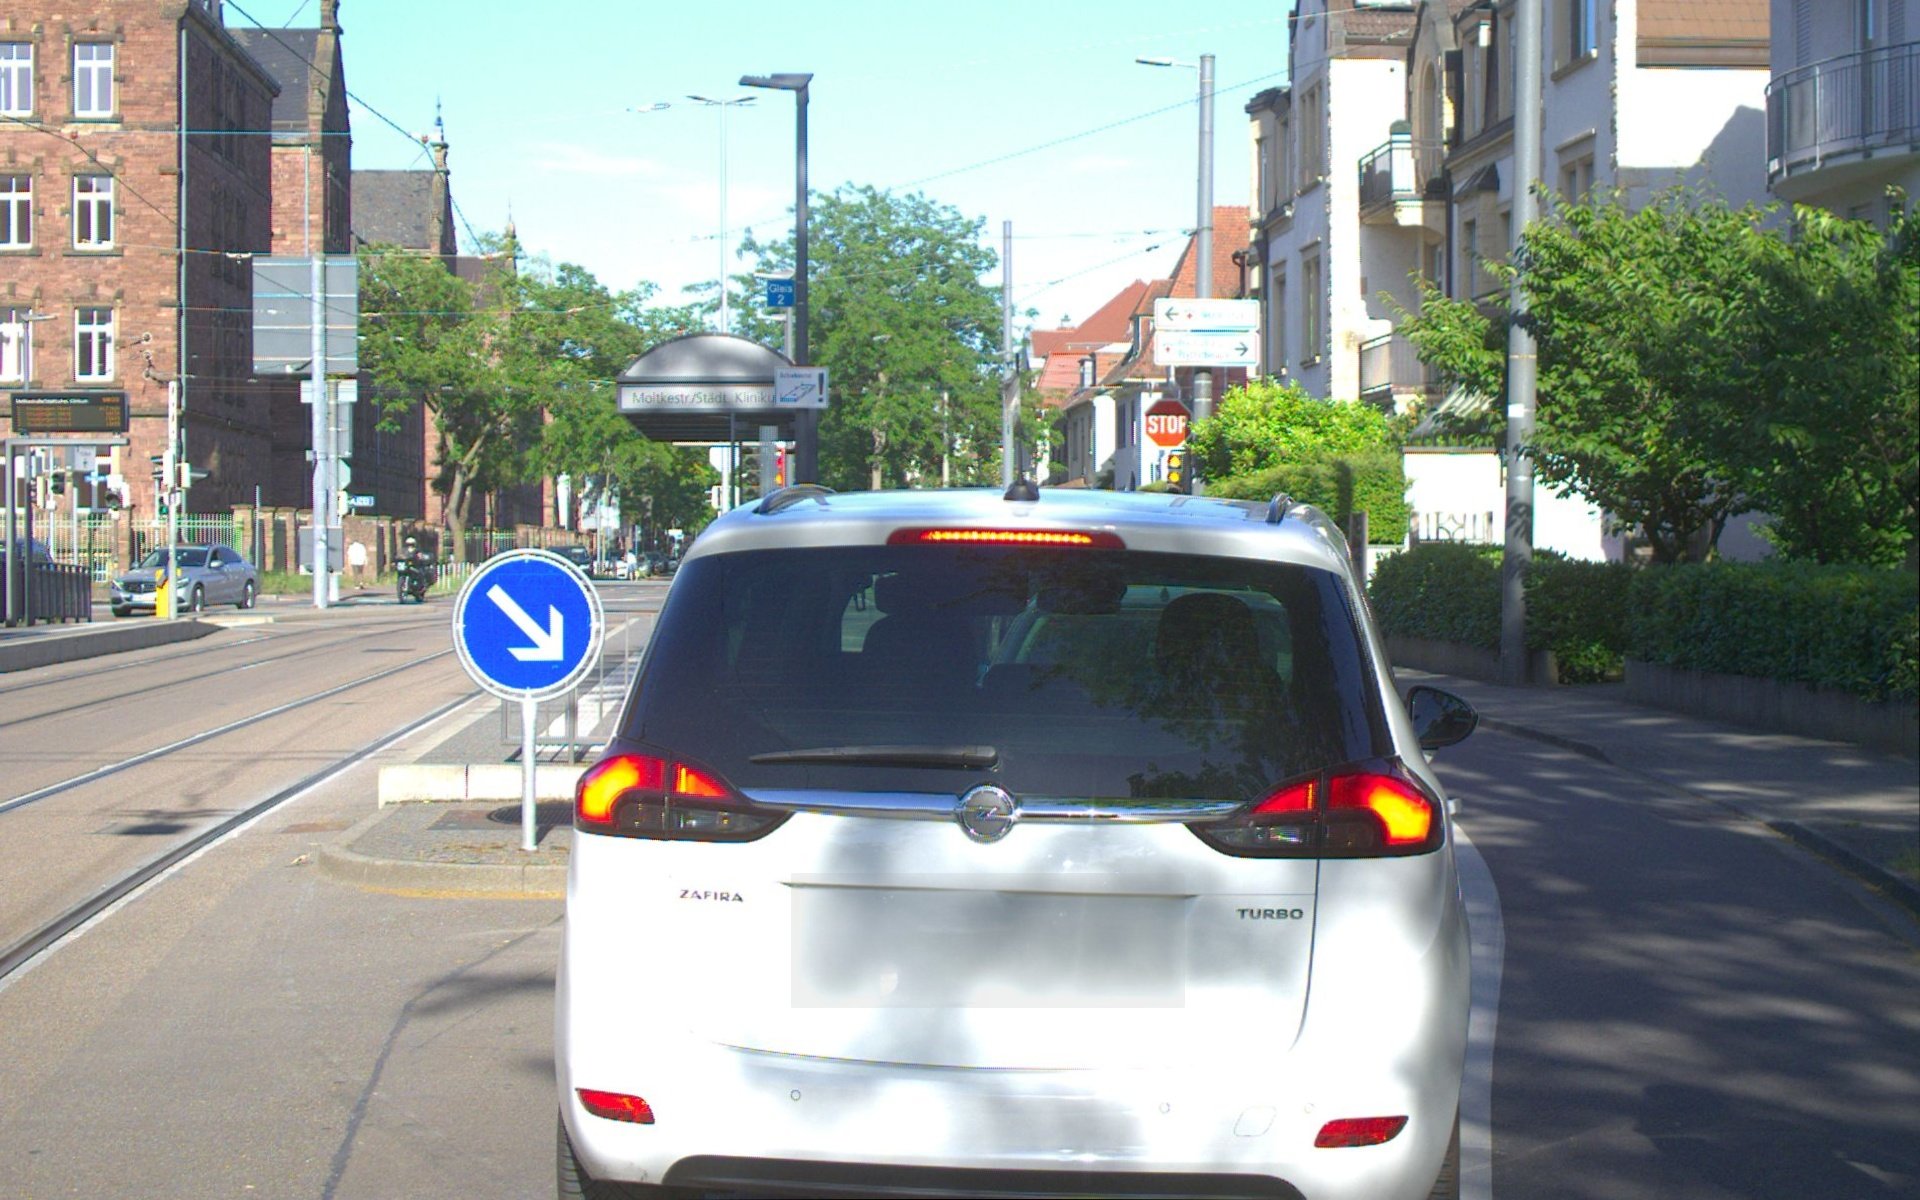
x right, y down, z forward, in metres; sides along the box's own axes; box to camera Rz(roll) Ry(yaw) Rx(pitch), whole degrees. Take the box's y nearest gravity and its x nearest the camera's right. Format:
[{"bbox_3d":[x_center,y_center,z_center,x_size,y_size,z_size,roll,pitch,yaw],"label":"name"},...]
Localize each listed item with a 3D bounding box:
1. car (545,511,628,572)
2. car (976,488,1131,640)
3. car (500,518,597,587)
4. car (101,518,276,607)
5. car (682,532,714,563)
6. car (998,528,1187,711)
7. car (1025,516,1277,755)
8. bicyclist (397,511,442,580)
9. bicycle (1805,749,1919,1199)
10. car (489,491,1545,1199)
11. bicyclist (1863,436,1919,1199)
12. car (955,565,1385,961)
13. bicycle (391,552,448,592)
[{"bbox_3d":[-12.726,-1.989,117.426,1.994,2.007,3.999,1,1,6],"label":"car"},{"bbox_3d":[1.046,-0.449,40.175,1.596,1.629,3.902,2,1,-1],"label":"car"},{"bbox_3d":[-12.250,-1.406,102.568,1.994,2.007,3.999,1,1,6],"label":"car"},{"bbox_3d":[-15.995,-0.754,71.501,1.828,1.782,4.325,1,0,14],"label":"car"},{"bbox_3d":[-17.636,-3.524,231.359,1.993,2.007,4.001,1,1,-6],"label":"car"},{"bbox_3d":[1.244,0.141,33.691,1.596,1.629,3.901,2,1,-1],"label":"car"},{"bbox_3d":[1.363,0.205,25.784,1.569,1.609,3.784,2,1,-1],"label":"car"},{"bbox_3d":[-13.509,-1.369,86.012,0.726,1.682,1.169,1,2,12],"label":"bicyclist"},{"bbox_3d":[2.107,0.903,6.269,0.642,1.139,1.902,0,1,-1],"label":"bicycle"},{"bbox_3d":[0.262,0.559,8.100,1.878,1.579,3.999,0,1,5],"label":"car"},{"bbox_3d":[2.126,0.439,6.243,0.644,1.482,1.115,1,0,-1],"label":"bicyclist"},{"bbox_3d":[0.950,0.590,14.800,1.569,1.396,3.783,2,1,5],"label":"car"},{"bbox_3d":[-13.514,-0.711,86.029,0.726,0.962,2.059,1,2,12],"label":"bicycle"}]
